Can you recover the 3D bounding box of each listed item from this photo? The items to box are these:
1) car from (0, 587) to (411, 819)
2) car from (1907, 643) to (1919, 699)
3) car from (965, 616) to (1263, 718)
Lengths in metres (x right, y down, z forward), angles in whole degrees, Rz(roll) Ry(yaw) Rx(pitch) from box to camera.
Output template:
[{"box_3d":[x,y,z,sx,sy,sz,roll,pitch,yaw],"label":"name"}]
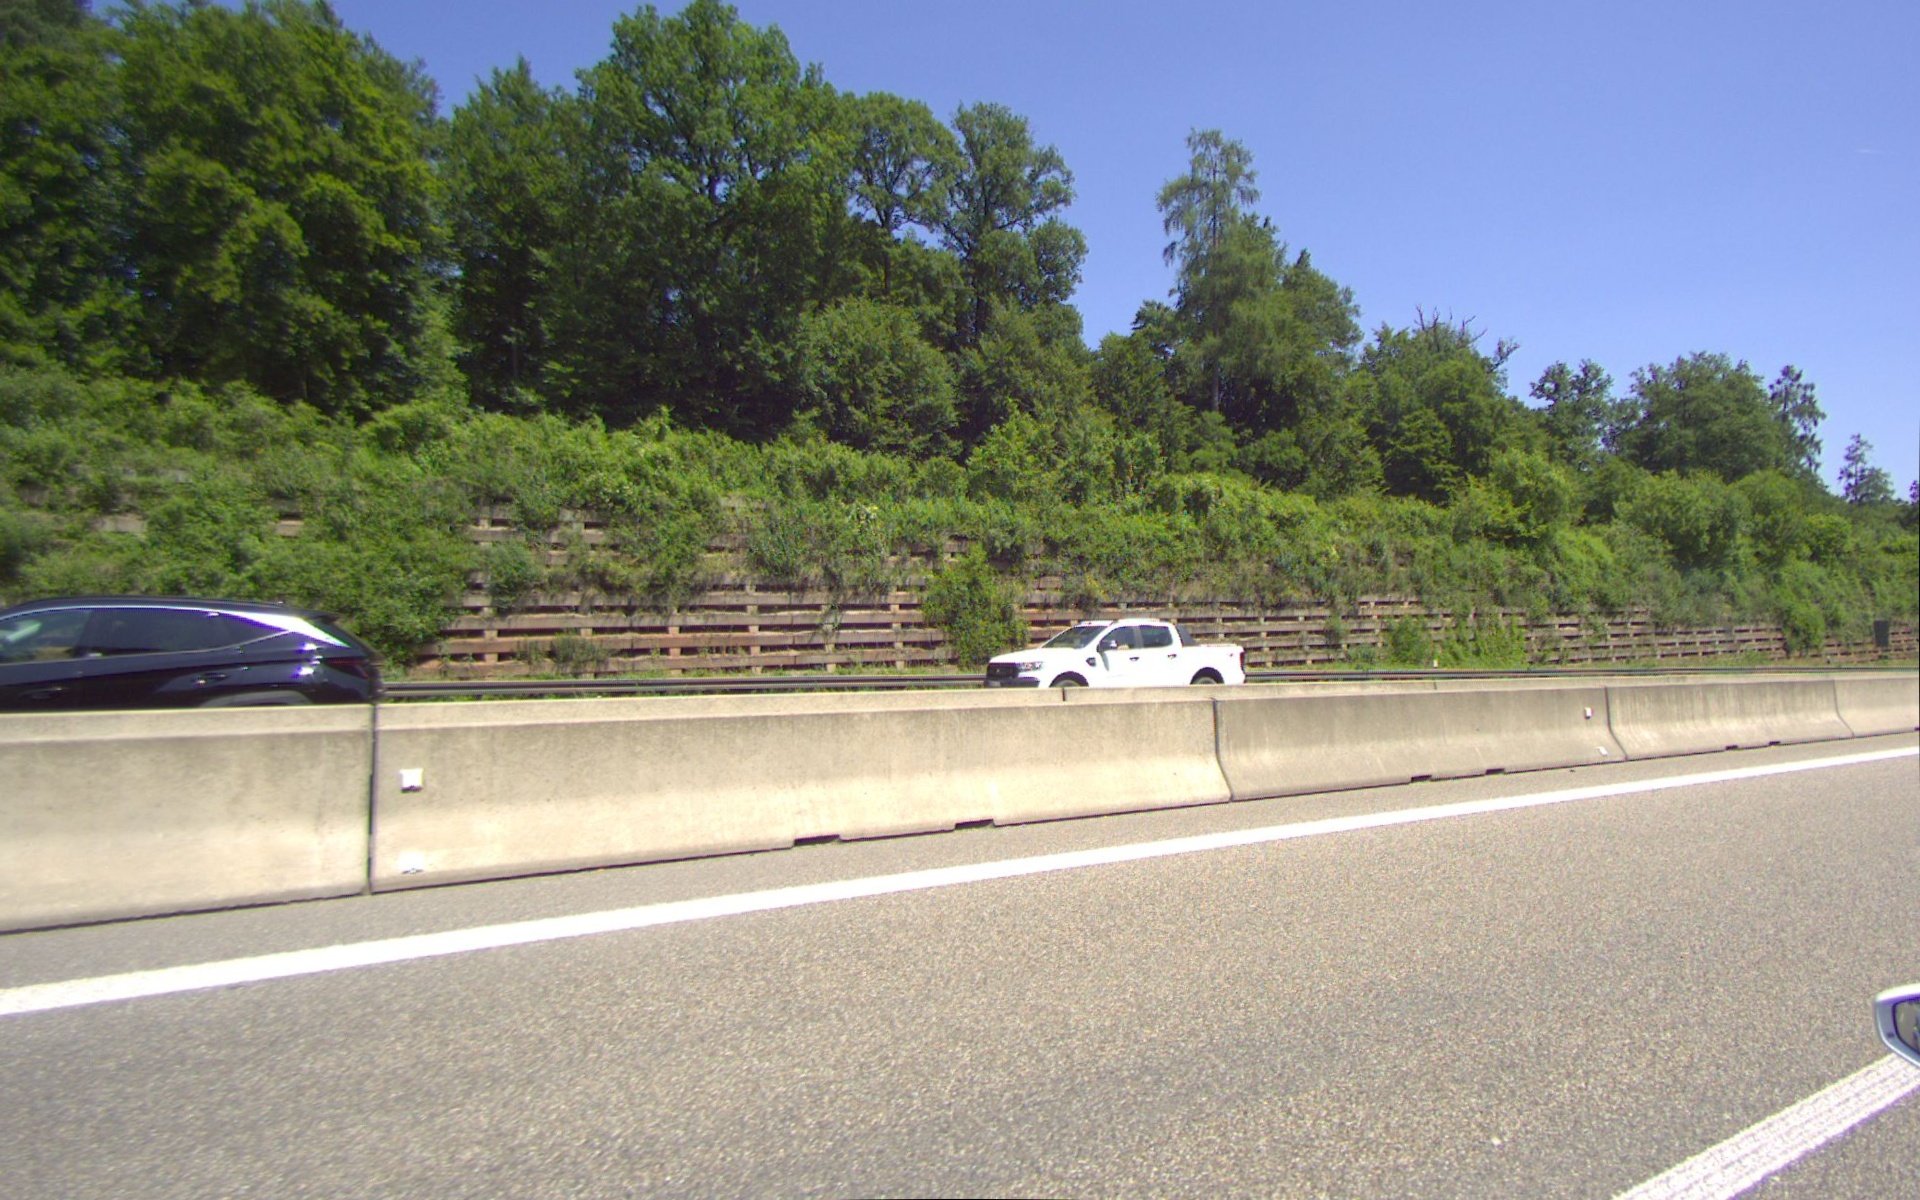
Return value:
[{"box_3d":[-6.932,0.783,8.190,4.253,1.659,1.745,2,-3,-31],"label":"car"},{"box_3d":[29.911,2.093,29.685,4.011,1.626,1.738,2,-3,-31],"label":"car"},{"box_3d":[2.952,1.196,18.673,5.583,1.659,1.874,2,-3,-31],"label":"car"}]
